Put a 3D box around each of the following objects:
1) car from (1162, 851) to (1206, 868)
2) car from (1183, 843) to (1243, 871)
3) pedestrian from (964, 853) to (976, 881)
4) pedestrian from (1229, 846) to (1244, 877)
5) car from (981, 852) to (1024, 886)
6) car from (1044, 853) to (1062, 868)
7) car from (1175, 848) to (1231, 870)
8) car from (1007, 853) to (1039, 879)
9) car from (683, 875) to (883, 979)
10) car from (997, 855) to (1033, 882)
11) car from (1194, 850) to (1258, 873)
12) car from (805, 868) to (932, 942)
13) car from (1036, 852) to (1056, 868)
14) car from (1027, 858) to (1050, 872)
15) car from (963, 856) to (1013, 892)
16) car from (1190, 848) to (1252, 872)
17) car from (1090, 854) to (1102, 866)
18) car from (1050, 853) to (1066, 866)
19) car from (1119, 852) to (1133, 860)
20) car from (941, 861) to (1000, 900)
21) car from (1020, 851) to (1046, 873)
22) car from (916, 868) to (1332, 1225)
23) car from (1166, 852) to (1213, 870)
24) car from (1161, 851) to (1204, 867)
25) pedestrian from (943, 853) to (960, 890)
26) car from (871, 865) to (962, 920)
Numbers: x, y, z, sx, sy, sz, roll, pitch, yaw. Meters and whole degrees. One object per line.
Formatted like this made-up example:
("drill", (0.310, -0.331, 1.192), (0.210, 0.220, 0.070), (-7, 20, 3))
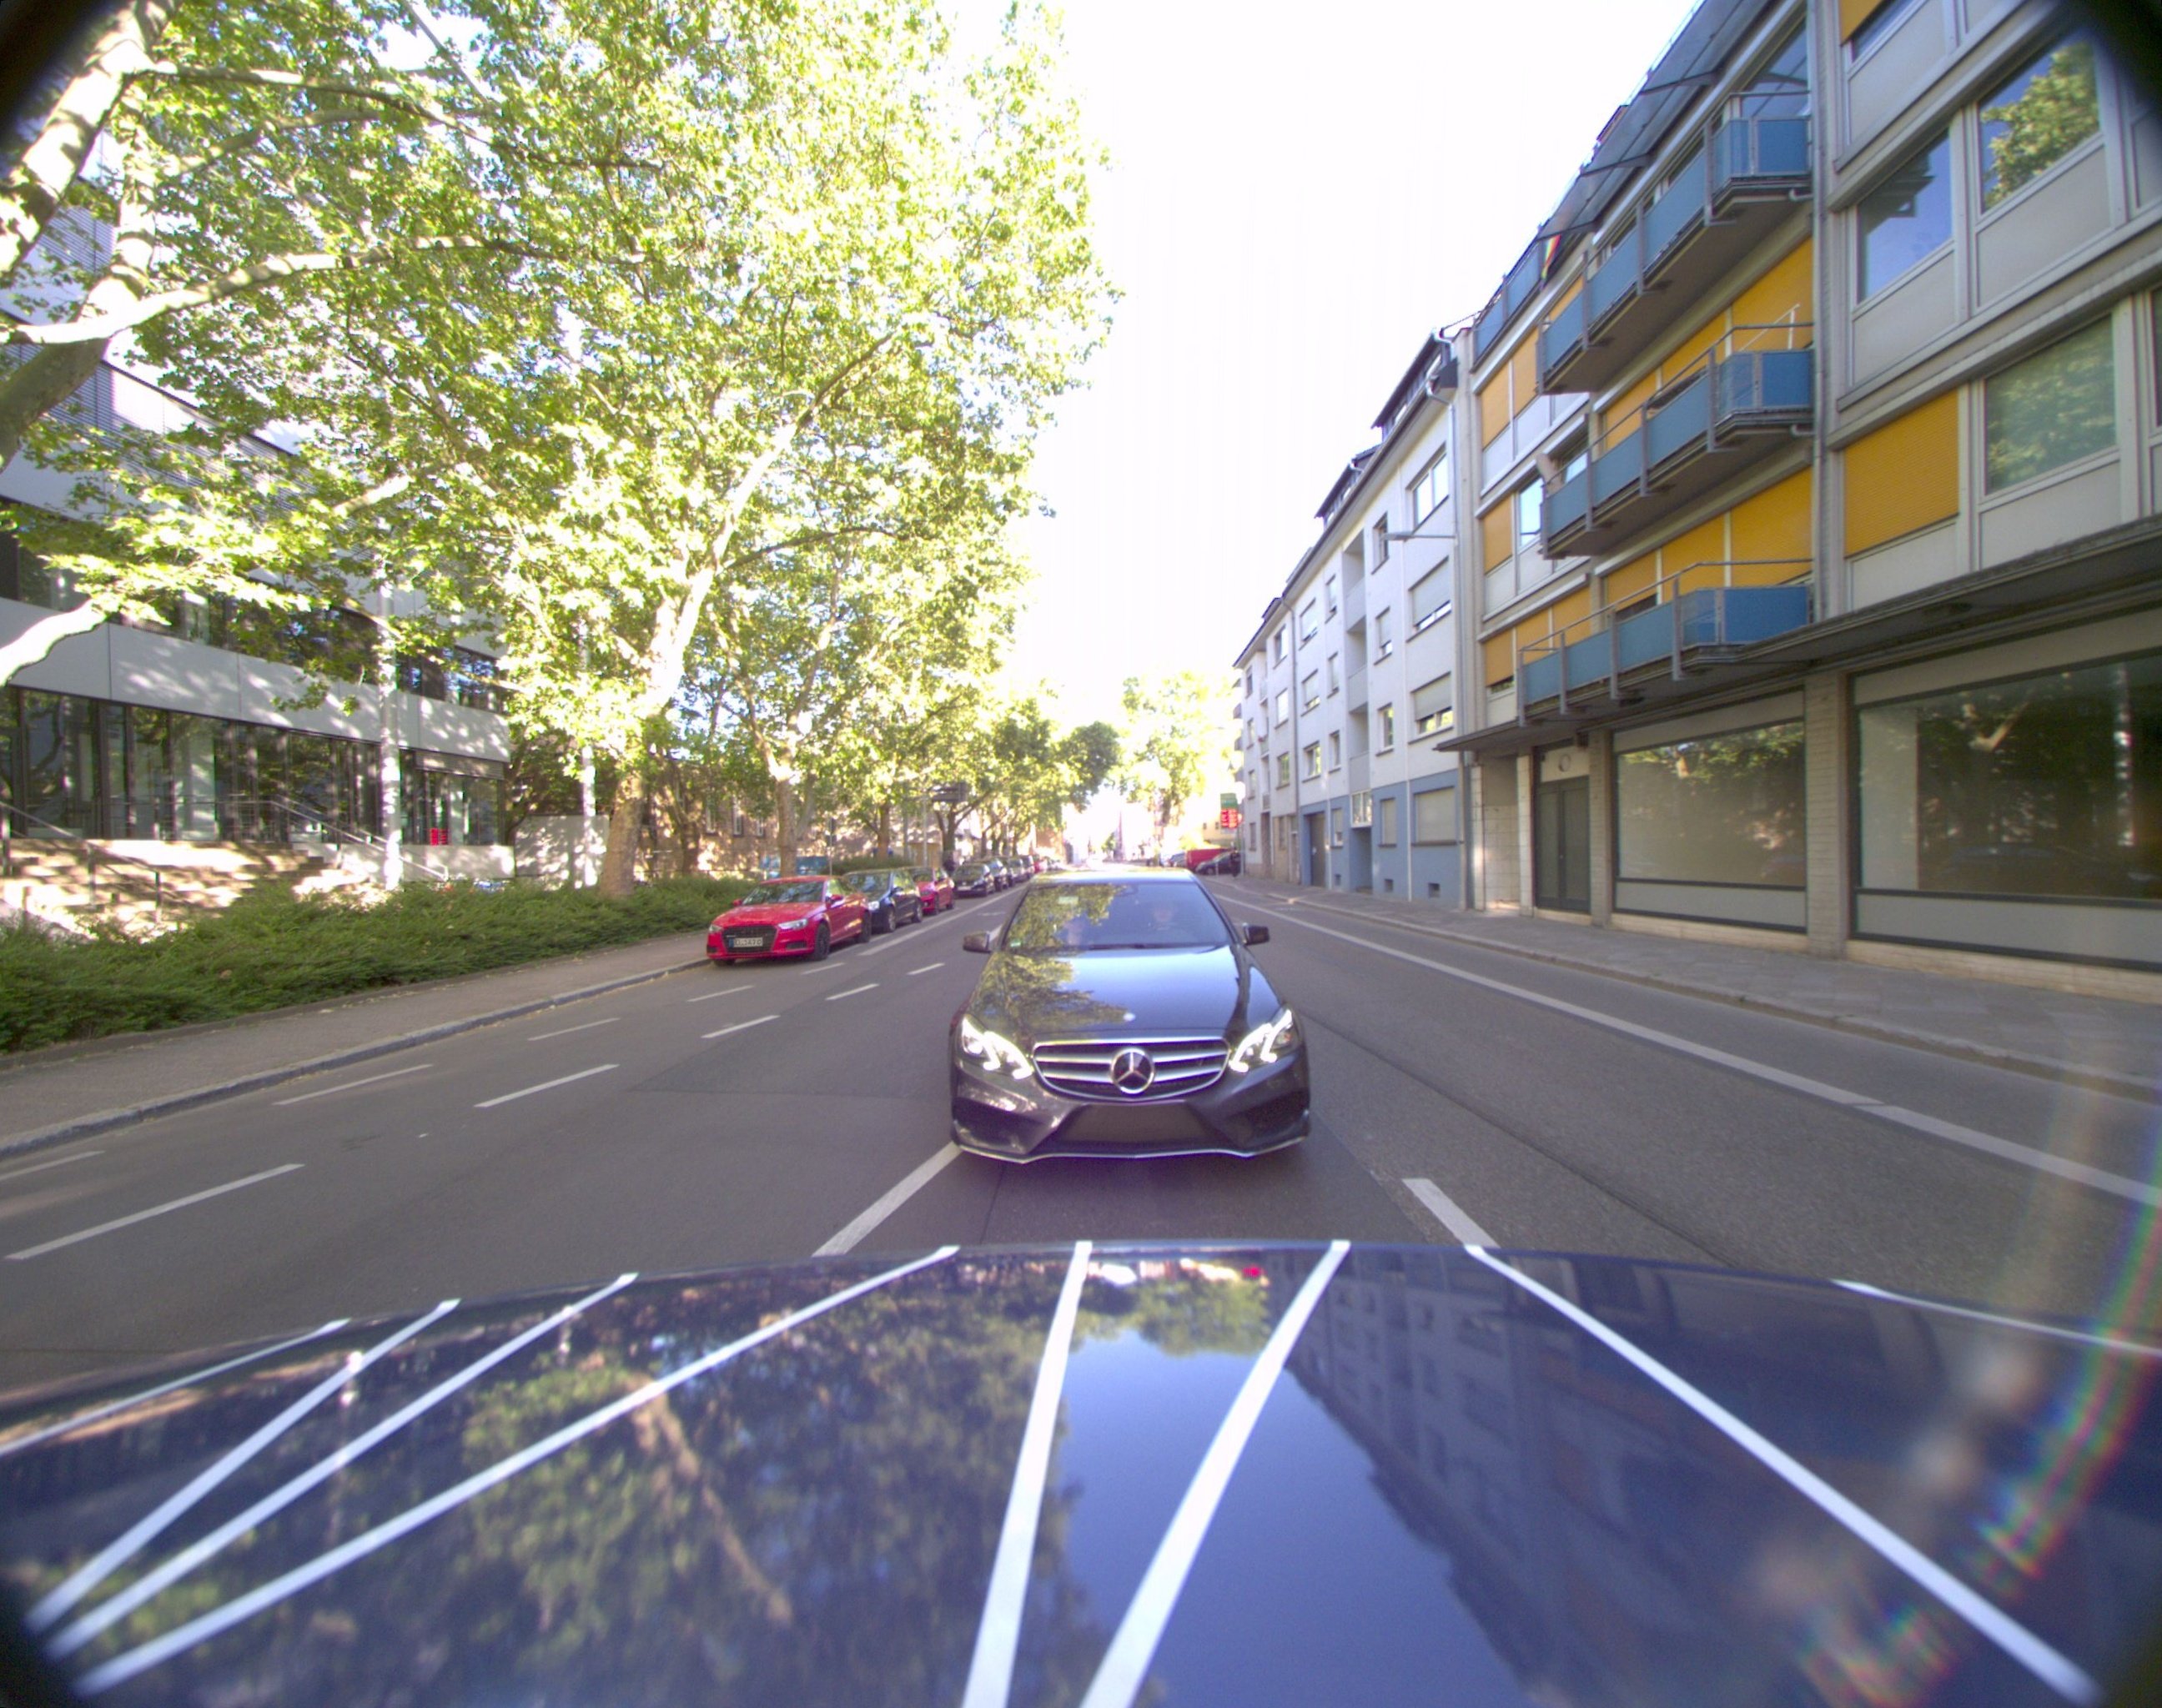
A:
("car", (10.602, 0.541, 78.670), (4.255, 1.461, 1.653), (-4, 0, 1))
("car", (10.414, 0.223, 60.149), (4.255, 1.907, 1.818), (-4, 0, 0))
("pedestrian", (-7.069, 0.831, 48.317), (0.601, 1.785, 0.593), (-2, 1, 0))
("pedestrian", (8.471, 0.402, 41.407), (0.612, 1.685, 0.655), (-2, 1, 1))
("car", (-4.511, 0.822, 44.134), (1.835, 1.787, 4.463), (-2, 0, 1))
("car", (-3.413, 0.787, 92.862), (1.835, 1.667, 4.259), (-2, 0, 1))
("car", (10.050, 0.408, 62.731), (4.255, 1.461, 1.653), (-4, 0, 1))
("car", (-4.181, 0.812, 55.659), (1.835, 1.750, 4.259), (-2, 0, 1))
("car", (-5.131, 1.177, 13.790), (1.835, 1.396, 4.247), (-2, 0, 1))
("car", (-4.339, 0.947, 50.628), (1.835, 1.604, 4.259), (-2, 0, 1))
("car", (10.398, 0.519, 54.767), (4.255, 1.392, 1.653), (-4, 0, 1))
("car", (-5.041, 1.150, 18.650), (1.835, 1.438, 4.168), (-2, 0, 1))
("car", (-3.941, 0.668, 86.246), (1.835, 1.667, 4.259), (-2, 0, 1))
("car", (-3.992, 1.027, 71.808), (1.835, 1.220, 4.259), (-2, 0, 1))
("car", (-4.598, 0.964, 38.094), (1.835, 1.596, 4.161), (-2, 0, 1))
("car", (10.482, 0.455, 57.069), (4.255, 1.461, 1.653), (-4, 0, 1))
("car", (2.127, 0.836, 108.583), (1.726, 1.530, 4.000), (-1, 0, 1))
("car", (-3.049, 0.686, 102.969), (1.835, 1.667, 4.259), (-2, 0, 1))
("car", (10.660, 0.493, 180.366), (1.995, 1.729, 4.006), (-1, 0, 23))
("car", (-4.747, 1.104, 33.197), (1.835, 1.459, 4.168), (-2, 0, 1))
("car", (-4.147, 0.682, 66.367), (1.835, 1.839, 4.259), (-2, 0, 1))
("car", (0.224, 0.917, 5.591), (1.849, 1.490, 4.302), (-1, 0, 1))
("car", (10.431, 0.674, 73.212), (4.255, 1.461, 1.653), (-4, 0, 1))
("car", (10.773, 0.515, 80.635), (4.255, 1.461, 1.653), (-4, 0, 1))
("pedestrian", (-6.544, 0.893, 38.395), (0.660, 1.849, 0.641), (-2, 1, 1))
("car", (-5.043, 1.134, 23.860), (1.835, 1.459, 4.168), (-2, 0, 1))
